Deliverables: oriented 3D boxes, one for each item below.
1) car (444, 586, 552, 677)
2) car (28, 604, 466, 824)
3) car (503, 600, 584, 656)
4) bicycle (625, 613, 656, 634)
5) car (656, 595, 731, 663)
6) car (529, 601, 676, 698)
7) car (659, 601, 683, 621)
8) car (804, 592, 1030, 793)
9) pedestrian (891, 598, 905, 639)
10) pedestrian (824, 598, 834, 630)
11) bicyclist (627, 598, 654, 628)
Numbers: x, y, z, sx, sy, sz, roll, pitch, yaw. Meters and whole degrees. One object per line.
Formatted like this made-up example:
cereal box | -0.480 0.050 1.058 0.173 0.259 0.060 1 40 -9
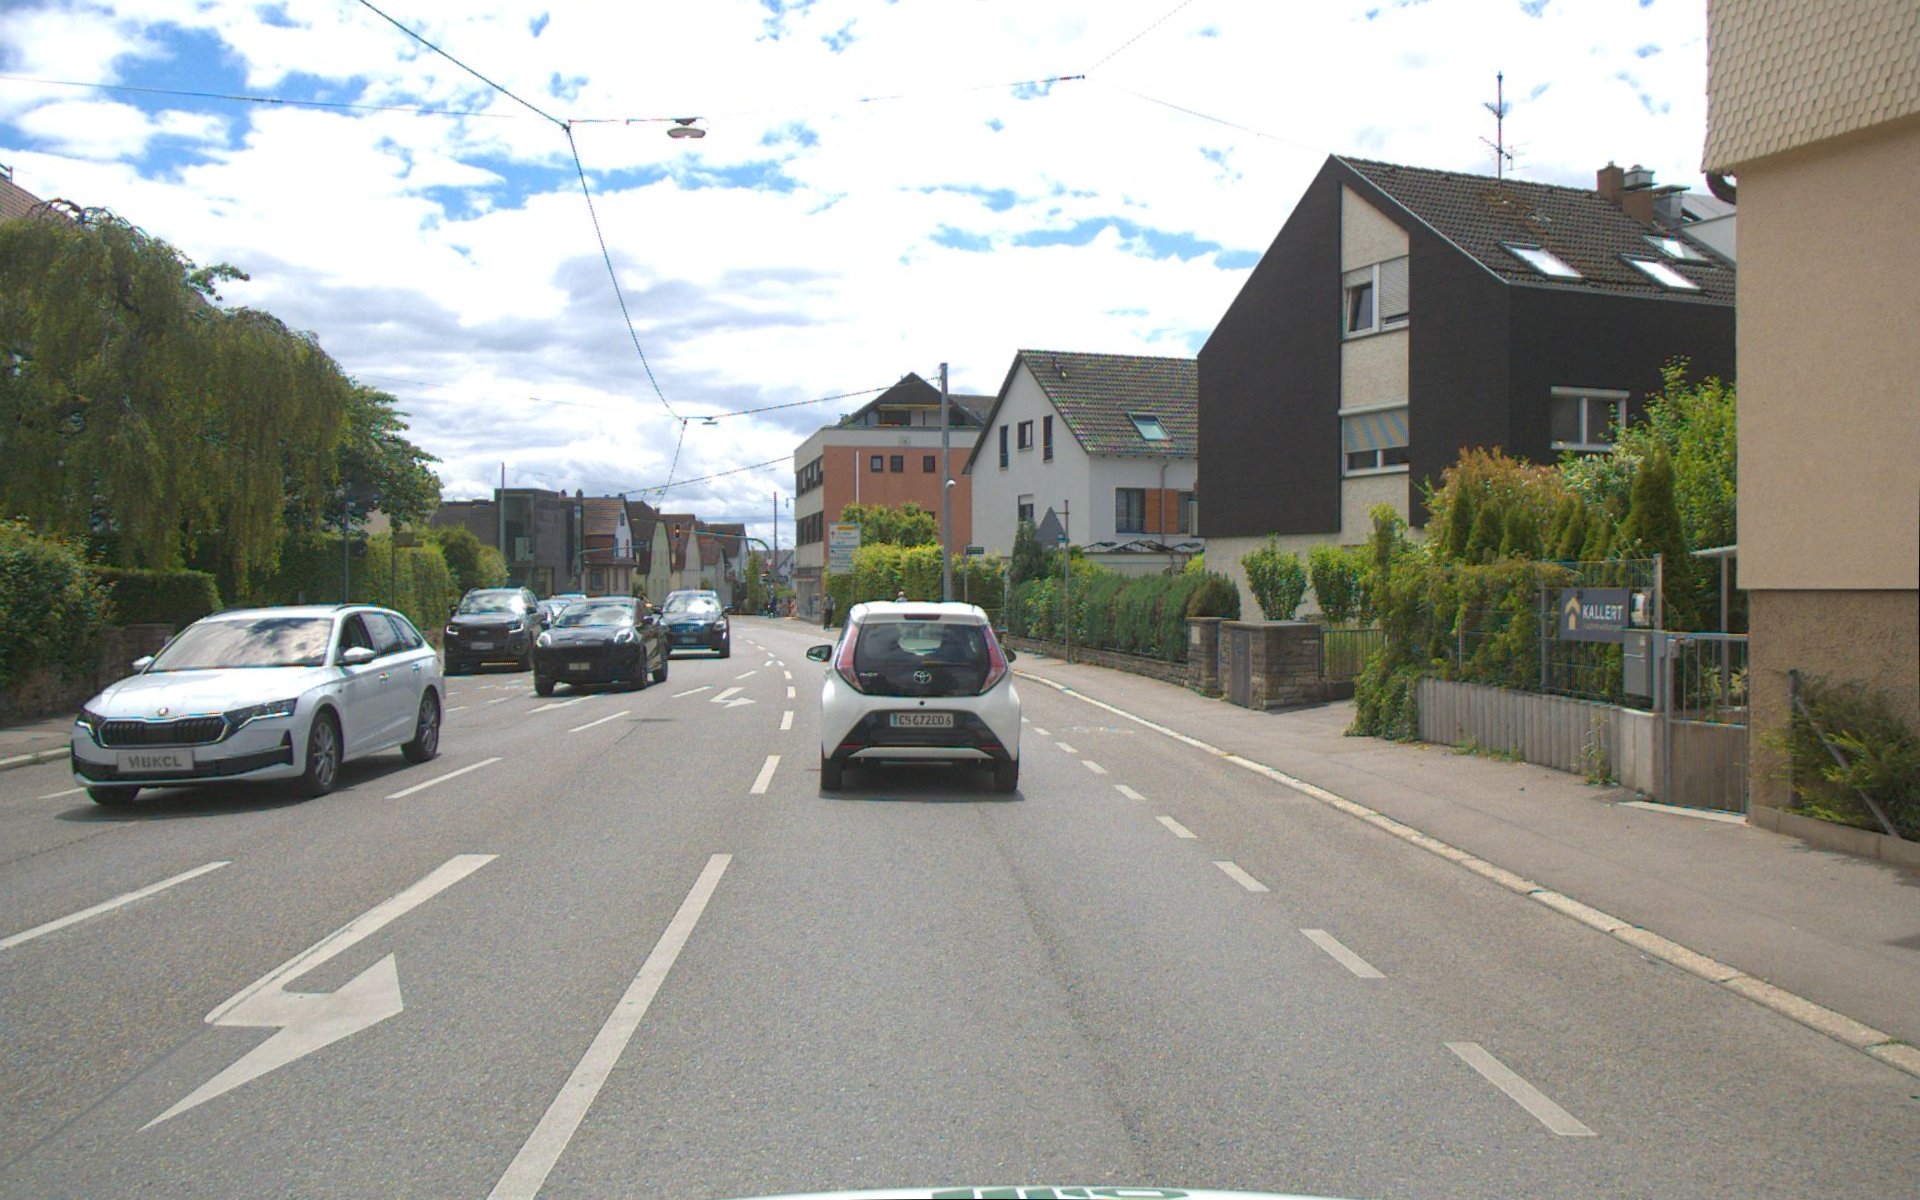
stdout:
car | -10.360 0.671 37.319 1.742 1.878 4.001 -2 0 -8
car | -5.731 0.810 13.992 1.739 1.455 4.521 -3 0 -1
car | -12.209 0.792 48.677 1.760 1.536 3.994 2 0 -7
bicycle | -15.491 1.135 80.118 1.096 0.953 3.772 -3 0 -16
car | -6.794 0.710 42.434 1.742 1.579 4.001 -3 0 -8
car | -5.970 0.781 28.040 1.739 1.455 4.006 -2 0 -3
car | -25.593 0.932 146.660 1.956 1.713 3.992 2 0 -9
car | -0.505 0.713 14.534 1.590 1.512 3.993 1 0 -7
pedestrian | -2.232 0.658 59.376 0.406 1.463 0.436 1 0 -14
pedestrian | -6.005 0.626 75.648 0.405 1.463 0.437 1 0 -9
bicyclist | -15.454 0.632 79.943 1.096 1.359 1.625 -3 0 -16
